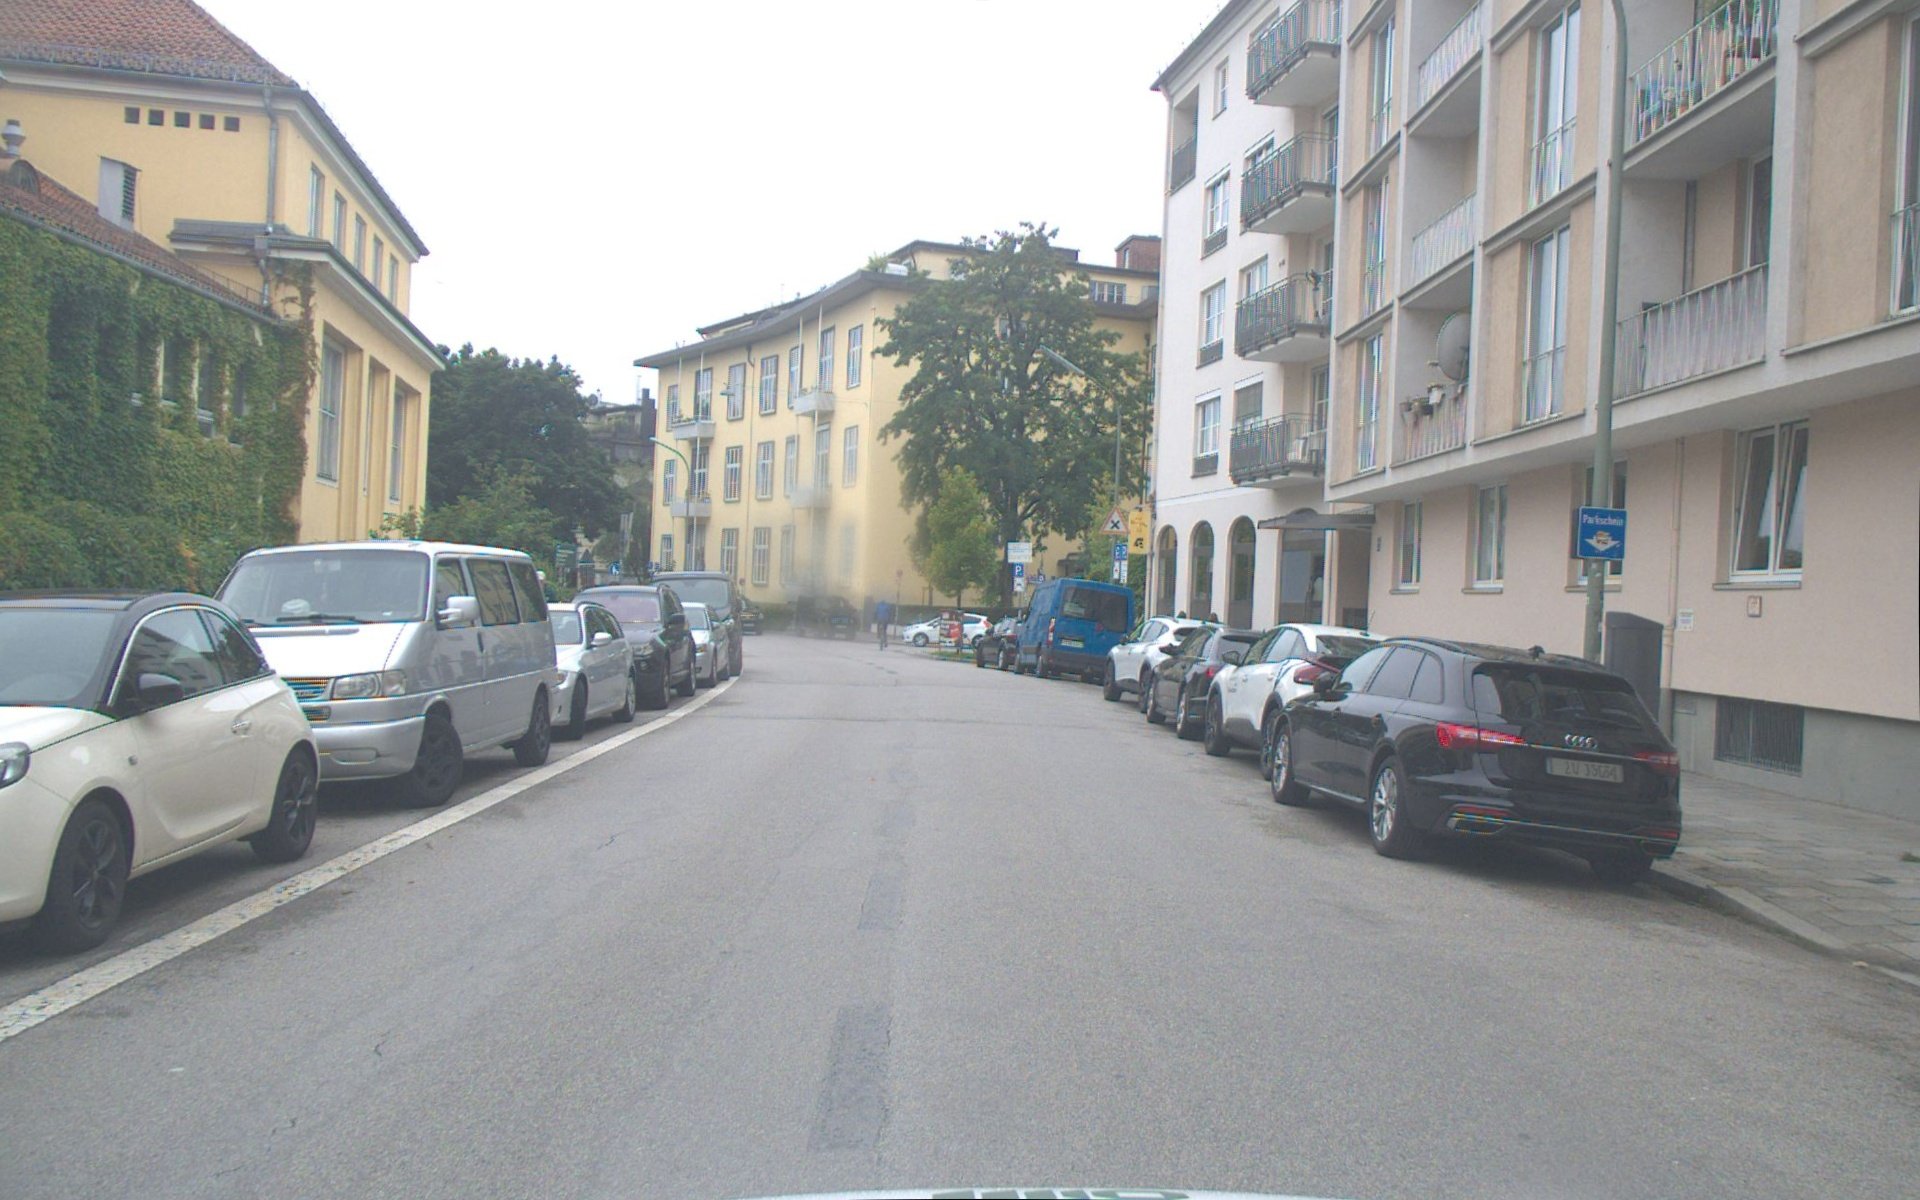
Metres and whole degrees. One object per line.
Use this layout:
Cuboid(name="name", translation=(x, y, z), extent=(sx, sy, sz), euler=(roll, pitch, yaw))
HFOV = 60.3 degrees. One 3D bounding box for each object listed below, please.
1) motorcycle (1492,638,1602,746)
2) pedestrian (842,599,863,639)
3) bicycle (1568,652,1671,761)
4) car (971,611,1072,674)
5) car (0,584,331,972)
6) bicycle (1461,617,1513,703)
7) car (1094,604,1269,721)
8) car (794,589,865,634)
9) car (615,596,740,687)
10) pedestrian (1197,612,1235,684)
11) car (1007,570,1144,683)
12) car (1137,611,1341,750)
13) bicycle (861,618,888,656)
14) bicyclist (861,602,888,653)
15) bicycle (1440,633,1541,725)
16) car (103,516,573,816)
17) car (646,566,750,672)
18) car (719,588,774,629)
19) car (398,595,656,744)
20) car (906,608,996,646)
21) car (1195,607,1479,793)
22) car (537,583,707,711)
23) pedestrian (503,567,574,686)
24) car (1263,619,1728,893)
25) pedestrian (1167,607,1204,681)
Cuboid(name="motorcycle", translation=(7.580, 1.160, 21.452), extent=(0.623, 1.293, 2.040), euler=(1, 0, -2))
Cuboid(name="pedestrian", translation=(-4.927, 0.877, 75.841), extent=(0.832, 1.788, 0.952), euler=(2, 0, -8))
Cuboid(name="bicycle", translation=(7.708, 1.222, 19.401), extent=(0.503, 1.177, 1.600), euler=(1, 0, -2))
Cuboid(name="car", translation=(1.638, 1.127, 45.160), extent=(1.685, 1.418, 3.987), euler=(6, -1, -13))
Cuboid(name="car", translation=(-4.425, 0.654, 7.848), extent=(1.633, 1.434, 3.557), euler=(-1, 0, -2))
Cuboid(name="bicycle", translation=(7.740, 0.863, 24.312), extent=(0.384, 1.223, 1.342), euler=(-1, -1, 4))
Cuboid(name="car", translation=(3.615, 0.979, 27.753), extent=(1.743, 1.548, 4.297), euler=(6, 0, -7))
Cuboid(name="car", translation=(-6.019, 0.503, 75.567), extent=(1.848, 1.920, 4.586), euler=(2, 0, -23))
Cuboid(name="car", translation=(-4.872, 0.666, 28.939), extent=(1.673, 1.389, 3.999), euler=(-2, 1, -3))
Cuboid(name="pedestrian", translation=(5.871, 1.089, 38.025), extent=(0.697, 1.633, 0.699), euler=(1, -1, -5))
Cuboid(name="car", translation=(2.643, 0.666, 39.196), extent=(2.070, 2.251, 5.019), euler=(7, -3, -7))
Cuboid(name="car", translation=(3.619, 0.988, 22.294), extent=(1.737, 1.453, 4.692), euler=(7, 0, -1))
Cuboid(name="bicycle", translation=(-3.135, 1.352, 60.839), extent=(0.902, 1.274, 2.321), euler=(2, 0, -2))
Cuboid(name="bicyclist", translation=(-3.134, 1.005, 60.841), extent=(0.895, 1.795, 1.215), euler=(2, 0, -2))
Cuboid(name="bicycle", translation=(7.346, 1.081, 22.903), extent=(1.315, 1.223, 0.392), euler=(-1, -1, -16))
Cuboid(name="car", translation=(-4.498, 0.398, 12.901), extent=(1.855, 1.830, 4.879), euler=(-2, 0, -1))
Cuboid(name="car", translation=(-5.321, 0.347, 34.054), extent=(1.888, 2.014, 4.616), euler=(-1, 0, -7))
Cuboid(name="car", translation=(-9.852, 0.374, 76.091), extent=(1.960, 1.749, 4.598), euler=(2, 0, -14))
Cuboid(name="car", translation=(-4.732, 0.697, 18.746), extent=(1.767, 1.401, 4.490), euler=(-2, 0, -1))
Cuboid(name="car", translation=(-0.369, 1.115, 69.160), extent=(3.639, 1.431, 1.753), euler=(2, 0, 0))
Cuboid(name="car", translation=(3.740, 0.924, 17.135), extent=(1.669, 1.493, 4.117), euler=(7, 0, -3))
Cuboid(name="car", translation=(-4.726, 0.600, 23.704), extent=(1.668, 1.634, 4.489), euler=(-1, 0, -2))
Cuboid(name="pedestrian", translation=(-6.541, 0.406, 25.704), extent=(0.826, 1.785, 0.872), euler=(2, 0, -1))
Cuboid(name="car", translation=(3.591, 0.954, 12.062), extent=(1.790, 1.405, 4.490), euler=(5, 0, -1))
Cuboid(name="pedestrian", translation=(5.169, 1.005, 37.952), extent=(0.665, 1.657, 0.829), euler=(1, -1, -5))
